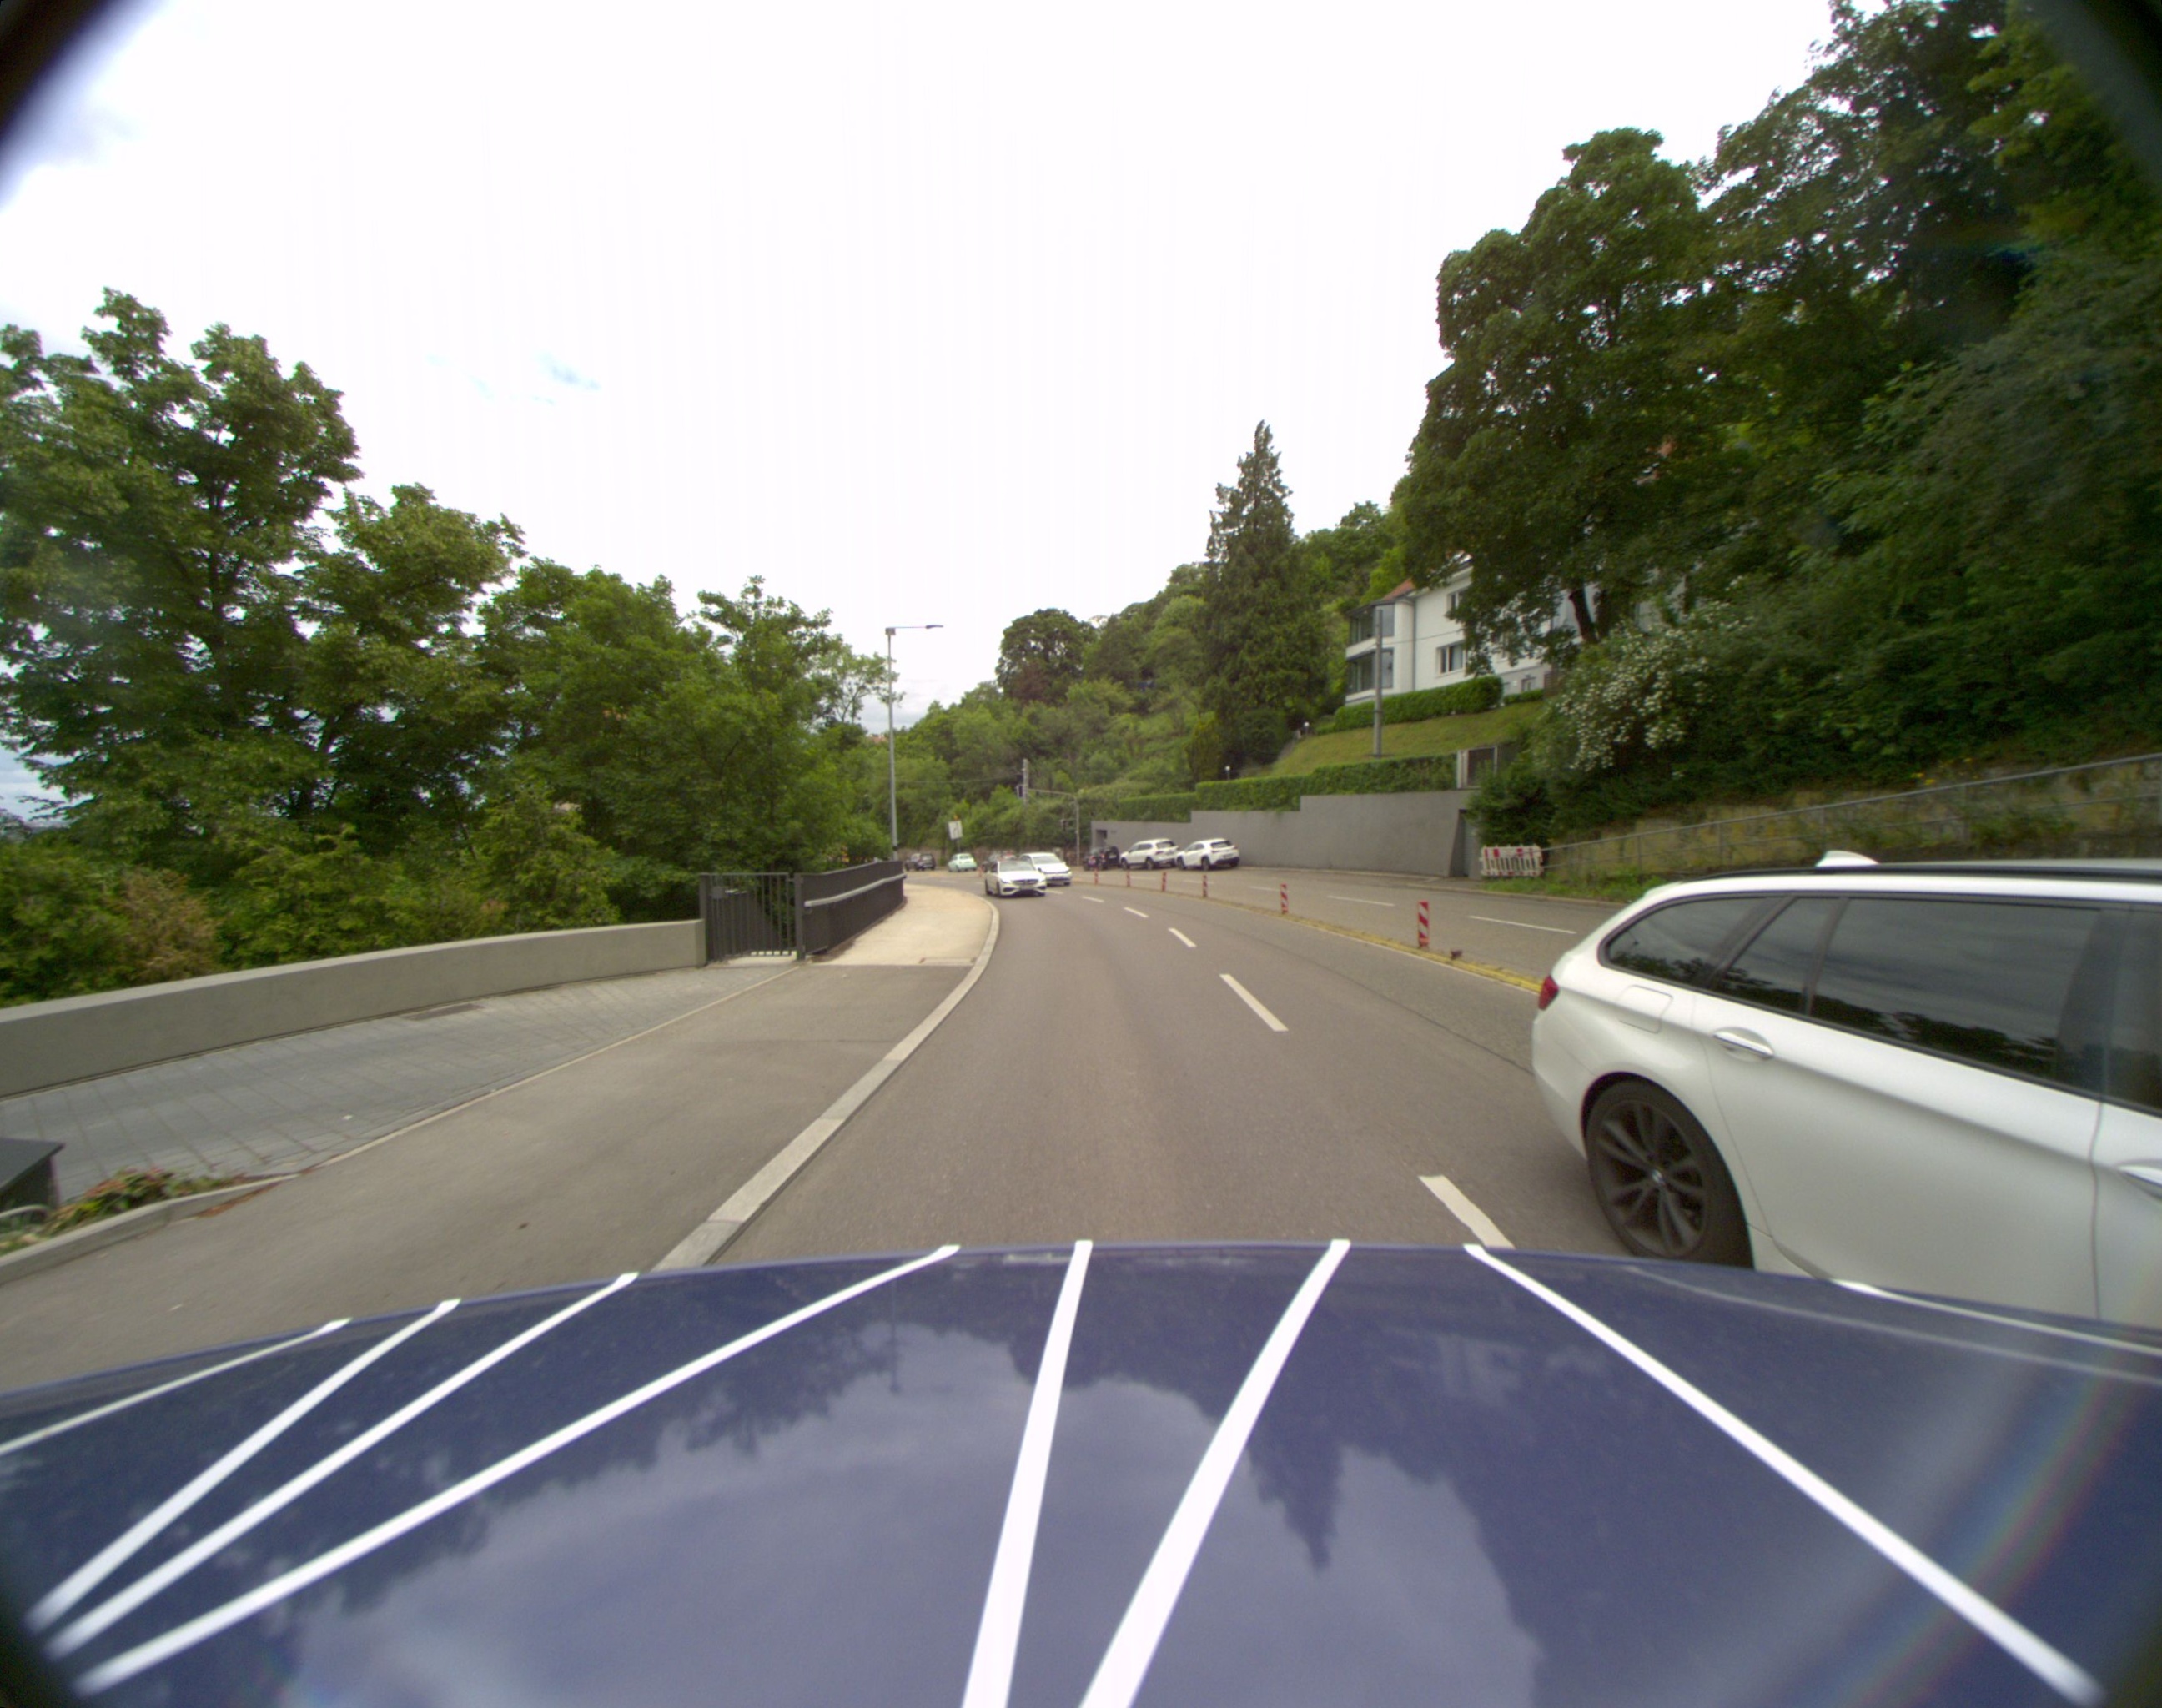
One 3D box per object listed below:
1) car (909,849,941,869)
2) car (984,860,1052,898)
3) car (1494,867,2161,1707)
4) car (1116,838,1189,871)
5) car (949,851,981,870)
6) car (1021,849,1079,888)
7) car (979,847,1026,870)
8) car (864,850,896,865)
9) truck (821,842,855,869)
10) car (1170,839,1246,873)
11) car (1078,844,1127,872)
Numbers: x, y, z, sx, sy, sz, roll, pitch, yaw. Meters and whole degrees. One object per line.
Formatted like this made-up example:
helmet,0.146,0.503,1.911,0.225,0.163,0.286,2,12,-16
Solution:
car,-15.123,0.472,73.372,1.891,1.687,4.661,-4,1,-25
car,-2.568,0.929,29.976,1.800,1.299,4.095,-3,1,-16
car,2.882,0.935,1.090,1.852,1.459,4.876,-4,2,0
car,4.190,0.028,45.277,1.867,1.722,4.750,-6,3,-29
car,-9.761,0.517,63.950,1.718,1.458,3.653,-5,2,-23
car,-1.562,0.641,36.702,1.888,1.570,3.994,-5,2,-15
car,-6.003,0.318,57.589,1.719,1.589,4.196,-4,2,-33
car,-22.607,0.409,85.369,1.818,1.422,4.862,-4,2,-34
truck,-33.240,0.170,103.839,2.744,3.490,7.332,-4,2,-31
car,6.629,0.077,40.159,1.840,1.564,4.466,-5,2,-22
car,1.387,0.285,49.596,1.718,1.564,2.951,-7,2,-30
